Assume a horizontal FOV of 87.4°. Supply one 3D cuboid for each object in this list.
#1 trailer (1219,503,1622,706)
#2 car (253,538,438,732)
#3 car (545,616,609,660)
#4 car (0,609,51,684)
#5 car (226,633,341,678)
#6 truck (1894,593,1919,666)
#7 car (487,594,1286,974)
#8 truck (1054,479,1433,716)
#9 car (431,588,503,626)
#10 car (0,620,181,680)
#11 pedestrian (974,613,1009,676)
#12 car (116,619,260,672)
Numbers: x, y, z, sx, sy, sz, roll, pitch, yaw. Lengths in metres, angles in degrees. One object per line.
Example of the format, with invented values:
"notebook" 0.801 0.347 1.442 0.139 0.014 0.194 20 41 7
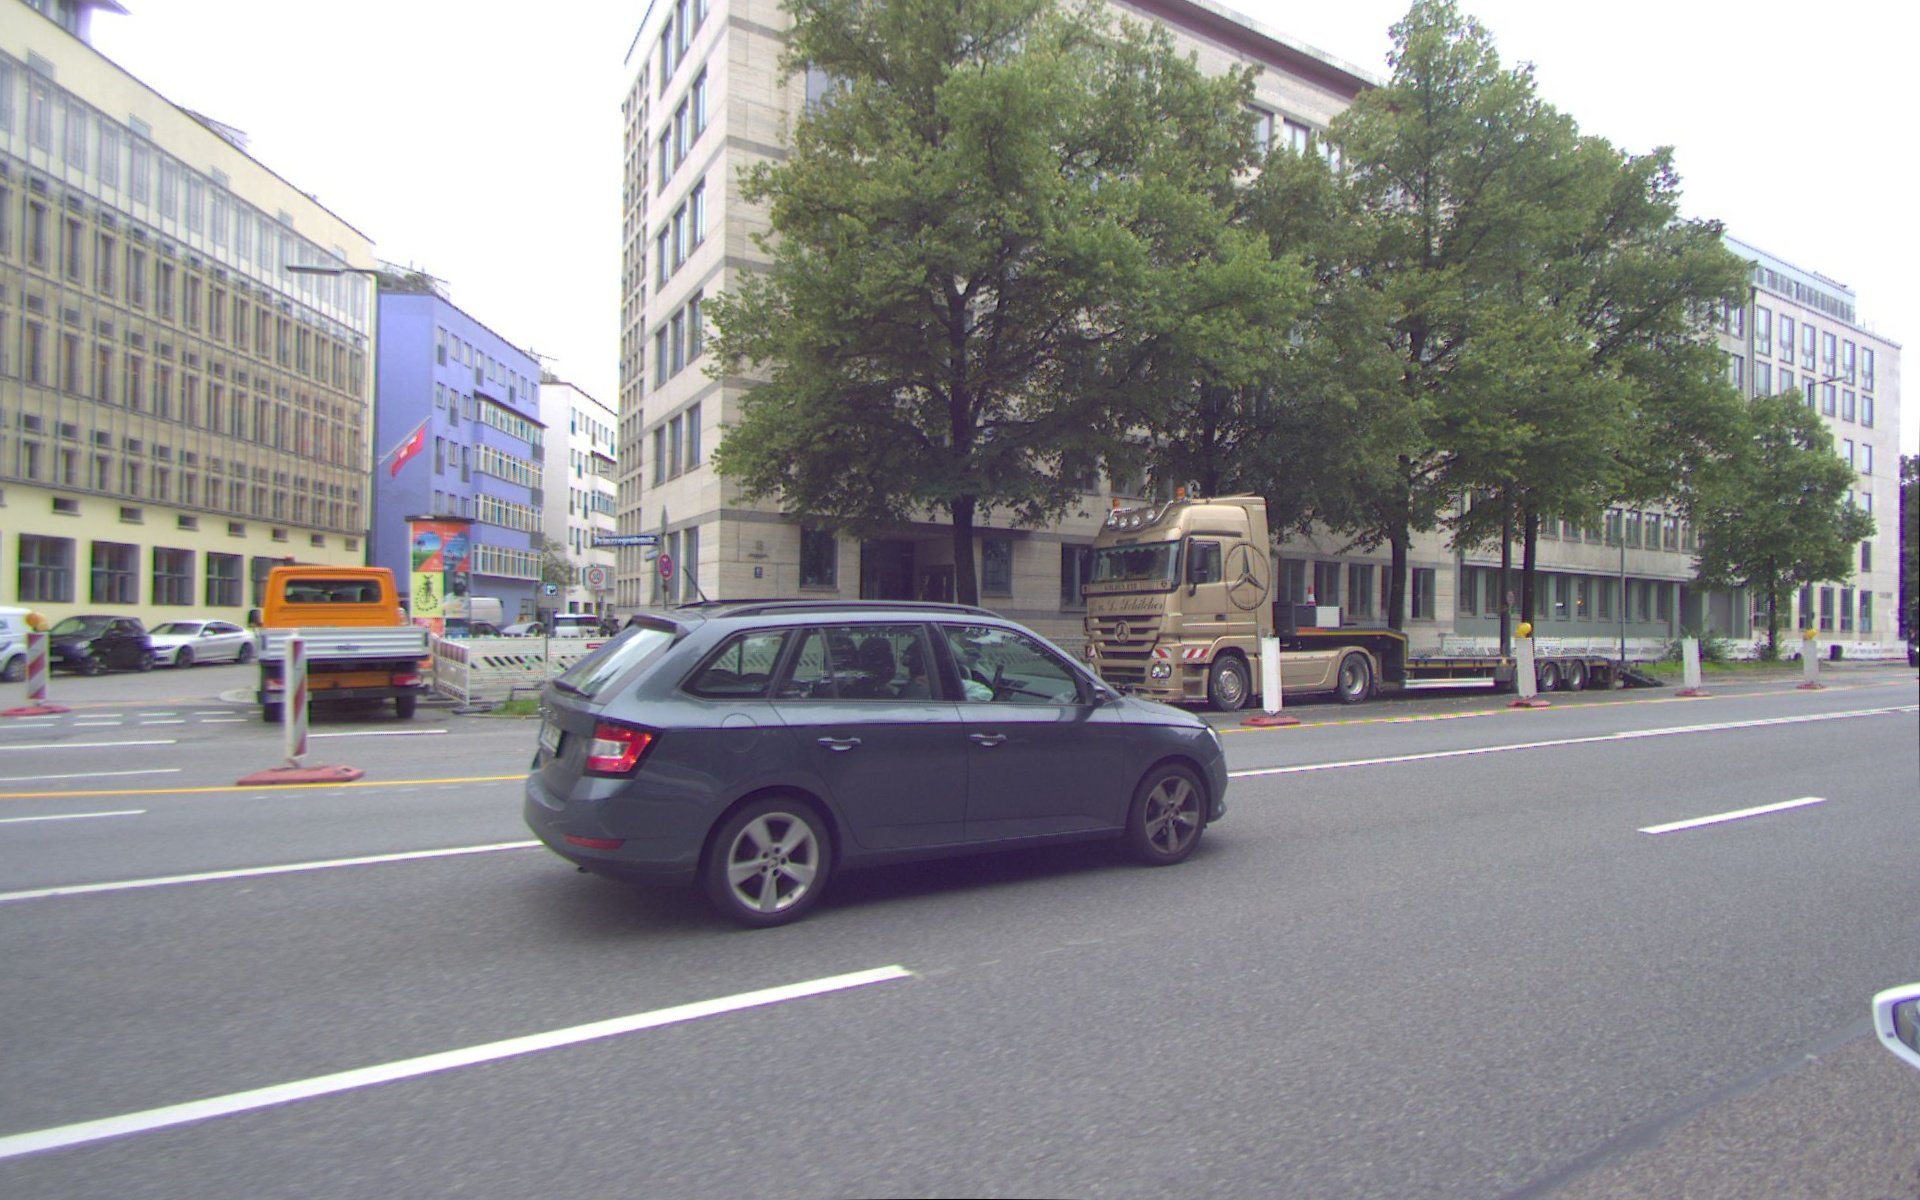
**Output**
"trailer" 11.098 0.188 23.302 11.652 3.790 2.930 2 0 -35
"car" -9.999 0.515 16.243 2.134 2.570 5.646 1 -1 -34
"car" -15.389 1.502 40.515 1.460 1.686 3.183 1 -1 -2
"car" -23.429 1.060 22.723 1.834 1.773 4.329 1 -1 -2
"car" -24.384 1.974 36.359 1.708 1.477 3.671 1 -1 -2
"truck" 48.785 1.492 49.523 8.690 3.401 2.818 2 0 -39
"car" -0.283 0.779 5.761 4.226 1.466 1.783 2 -1 -31
"truck" 5.692 0.024 19.547 7.589 3.825 2.897 2 0 -35
"car" -24.467 0.388 49.980 1.834 1.773 3.998 1 -1 -4
"car" -23.136 1.294 26.927 1.708 1.477 3.671 1 -1 -2
"pedestrian" 0.896 1.253 28.461 0.755 1.755 0.576 1 0 -30
"car" -23.555 1.347 30.842 1.460 1.517 3.964 1 -1 -2
